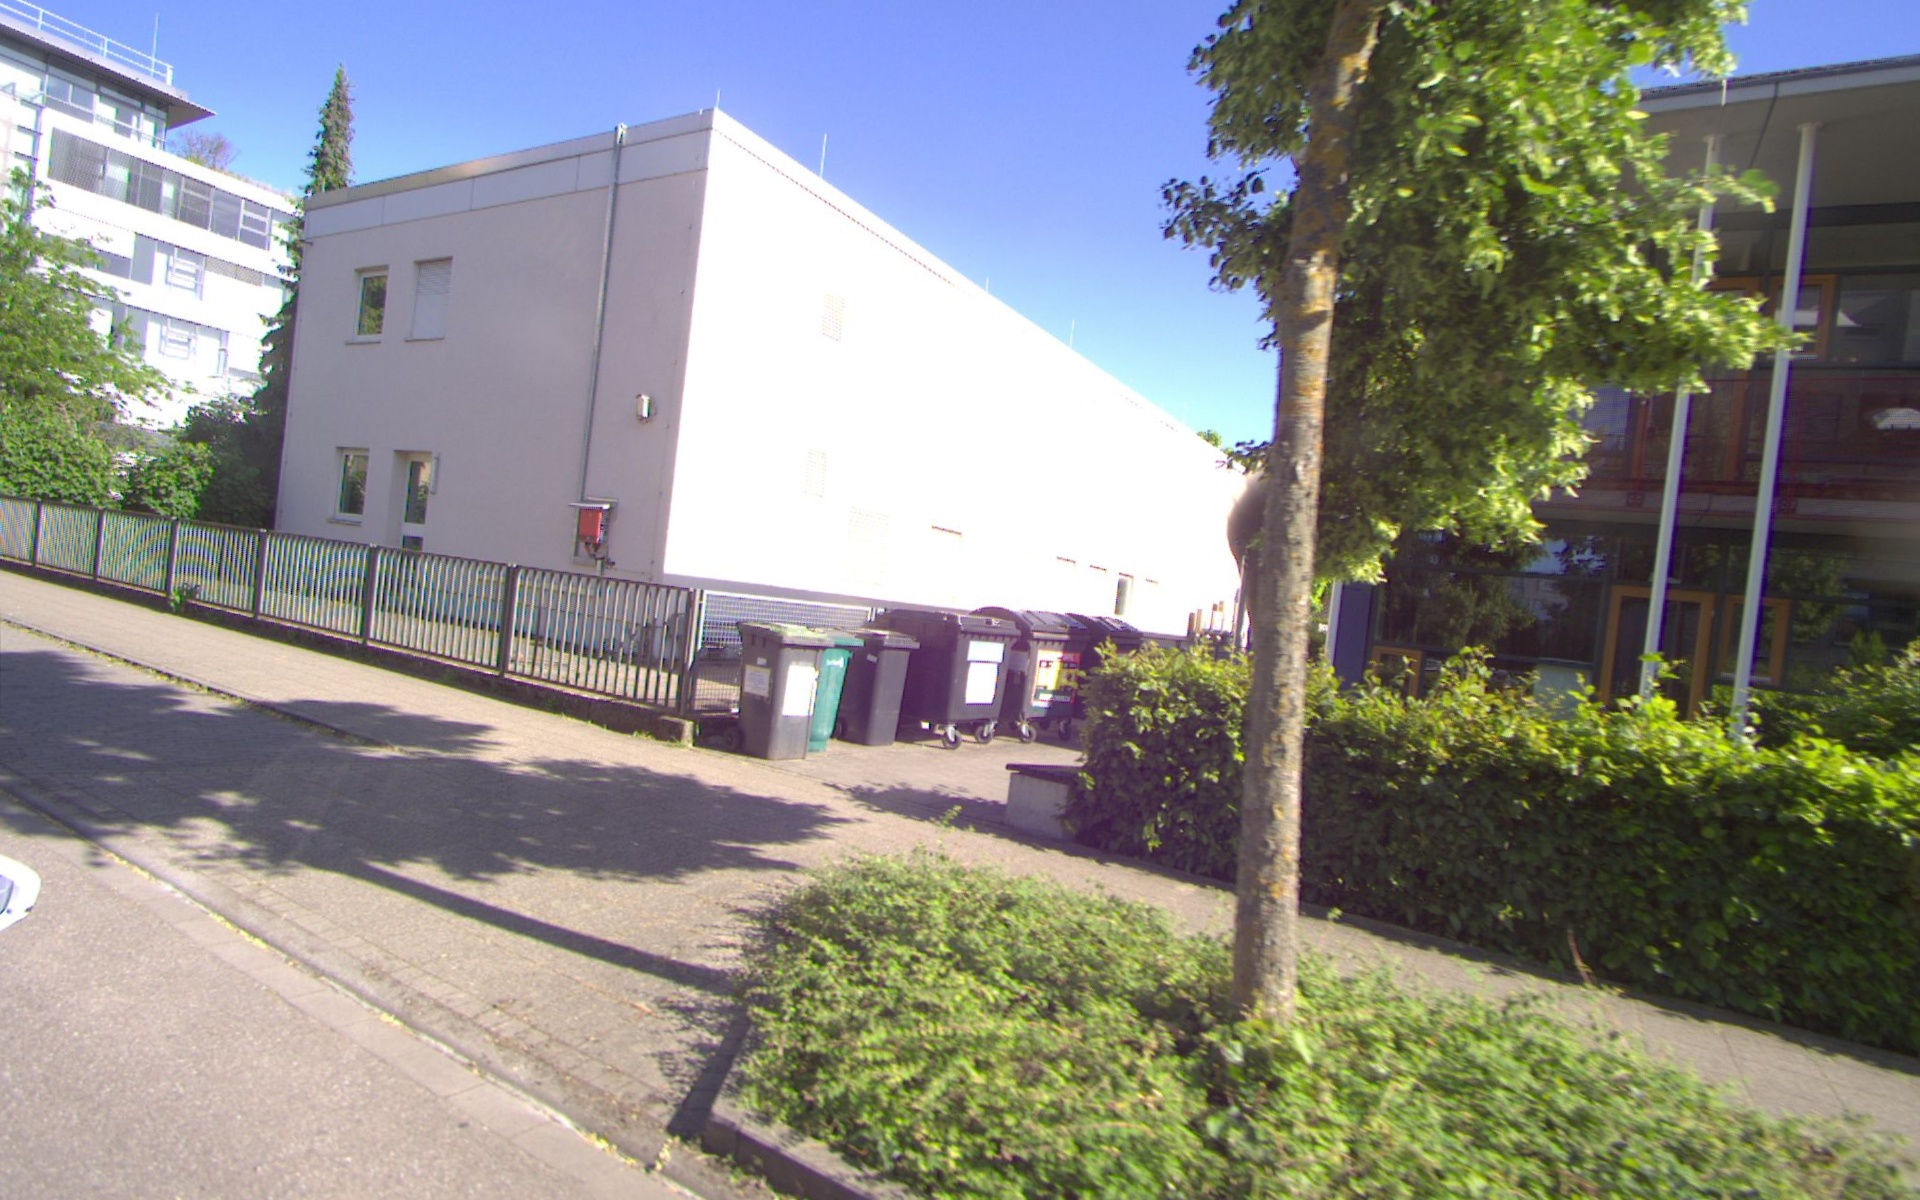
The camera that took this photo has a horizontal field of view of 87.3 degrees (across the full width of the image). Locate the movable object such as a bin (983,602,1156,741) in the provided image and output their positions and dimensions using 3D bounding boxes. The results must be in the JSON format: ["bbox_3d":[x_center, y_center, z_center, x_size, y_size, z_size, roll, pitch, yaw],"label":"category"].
[{"bbox_3d":[1.384,0.876,12.659,1.605,1.466,1.331,7,1,32],"label":"movable object such as a bin"}]

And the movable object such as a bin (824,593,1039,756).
[{"bbox_3d":[-0.280,0.737,10.383,1.605,1.374,1.367,7,0,32],"label":"movable object such as a bin"}]

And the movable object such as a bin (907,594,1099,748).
[{"bbox_3d":[0.506,0.793,11.576,1.605,1.466,1.367,7,1,32],"label":"movable object such as a bin"}]

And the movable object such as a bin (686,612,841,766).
[{"bbox_3d":[-1.599,0.707,8.197,0.963,1.083,0.633,6,0,31],"label":"movable object such as a bin"}]
